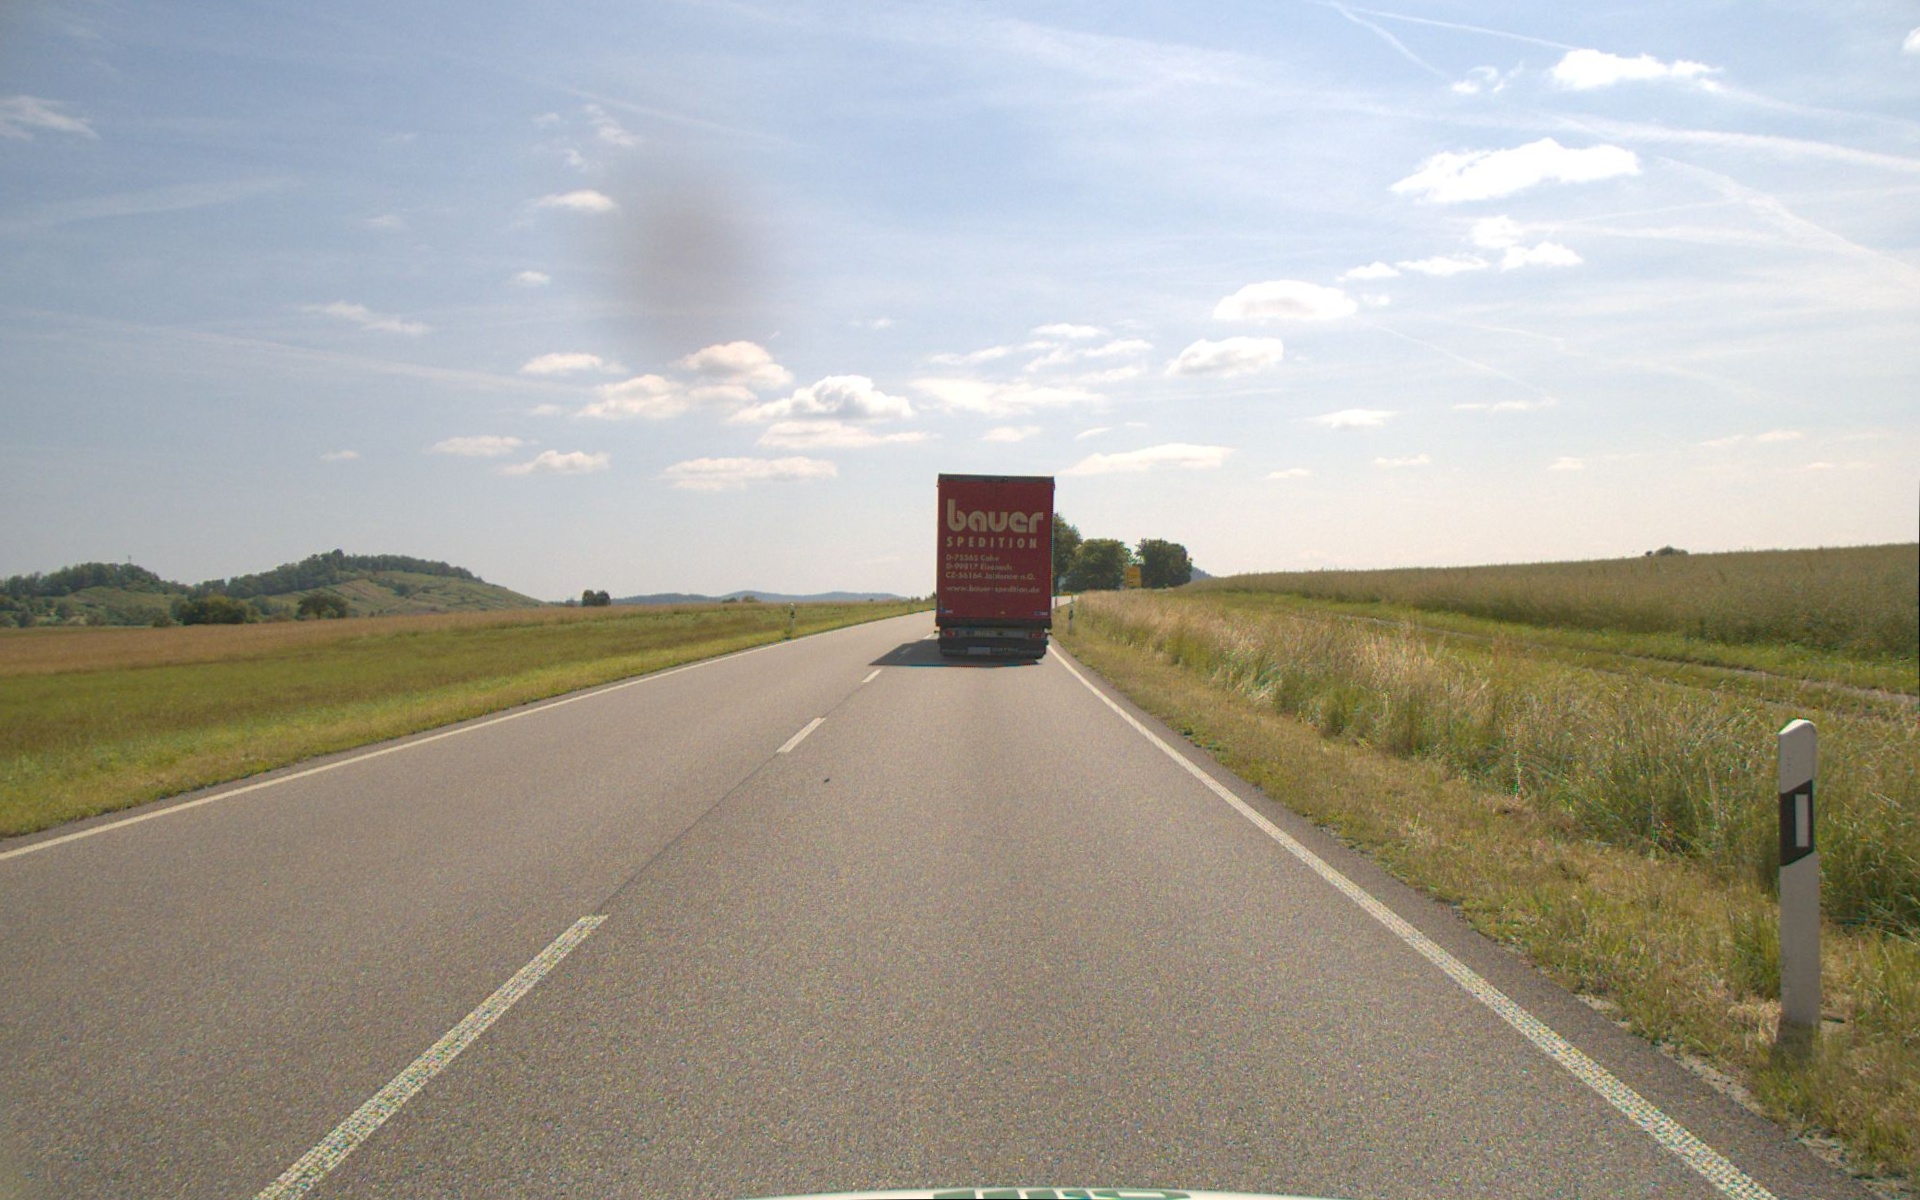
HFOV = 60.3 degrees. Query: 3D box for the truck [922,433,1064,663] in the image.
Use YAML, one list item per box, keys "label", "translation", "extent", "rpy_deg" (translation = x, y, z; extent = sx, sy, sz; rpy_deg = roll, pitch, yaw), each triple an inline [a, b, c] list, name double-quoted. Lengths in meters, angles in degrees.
- label: "truck"
  translation: [0.864, -1.127, 39.562]
  extent: [2.913, 4.795, 9.368]
  rpy_deg: [1, 0, 2]
